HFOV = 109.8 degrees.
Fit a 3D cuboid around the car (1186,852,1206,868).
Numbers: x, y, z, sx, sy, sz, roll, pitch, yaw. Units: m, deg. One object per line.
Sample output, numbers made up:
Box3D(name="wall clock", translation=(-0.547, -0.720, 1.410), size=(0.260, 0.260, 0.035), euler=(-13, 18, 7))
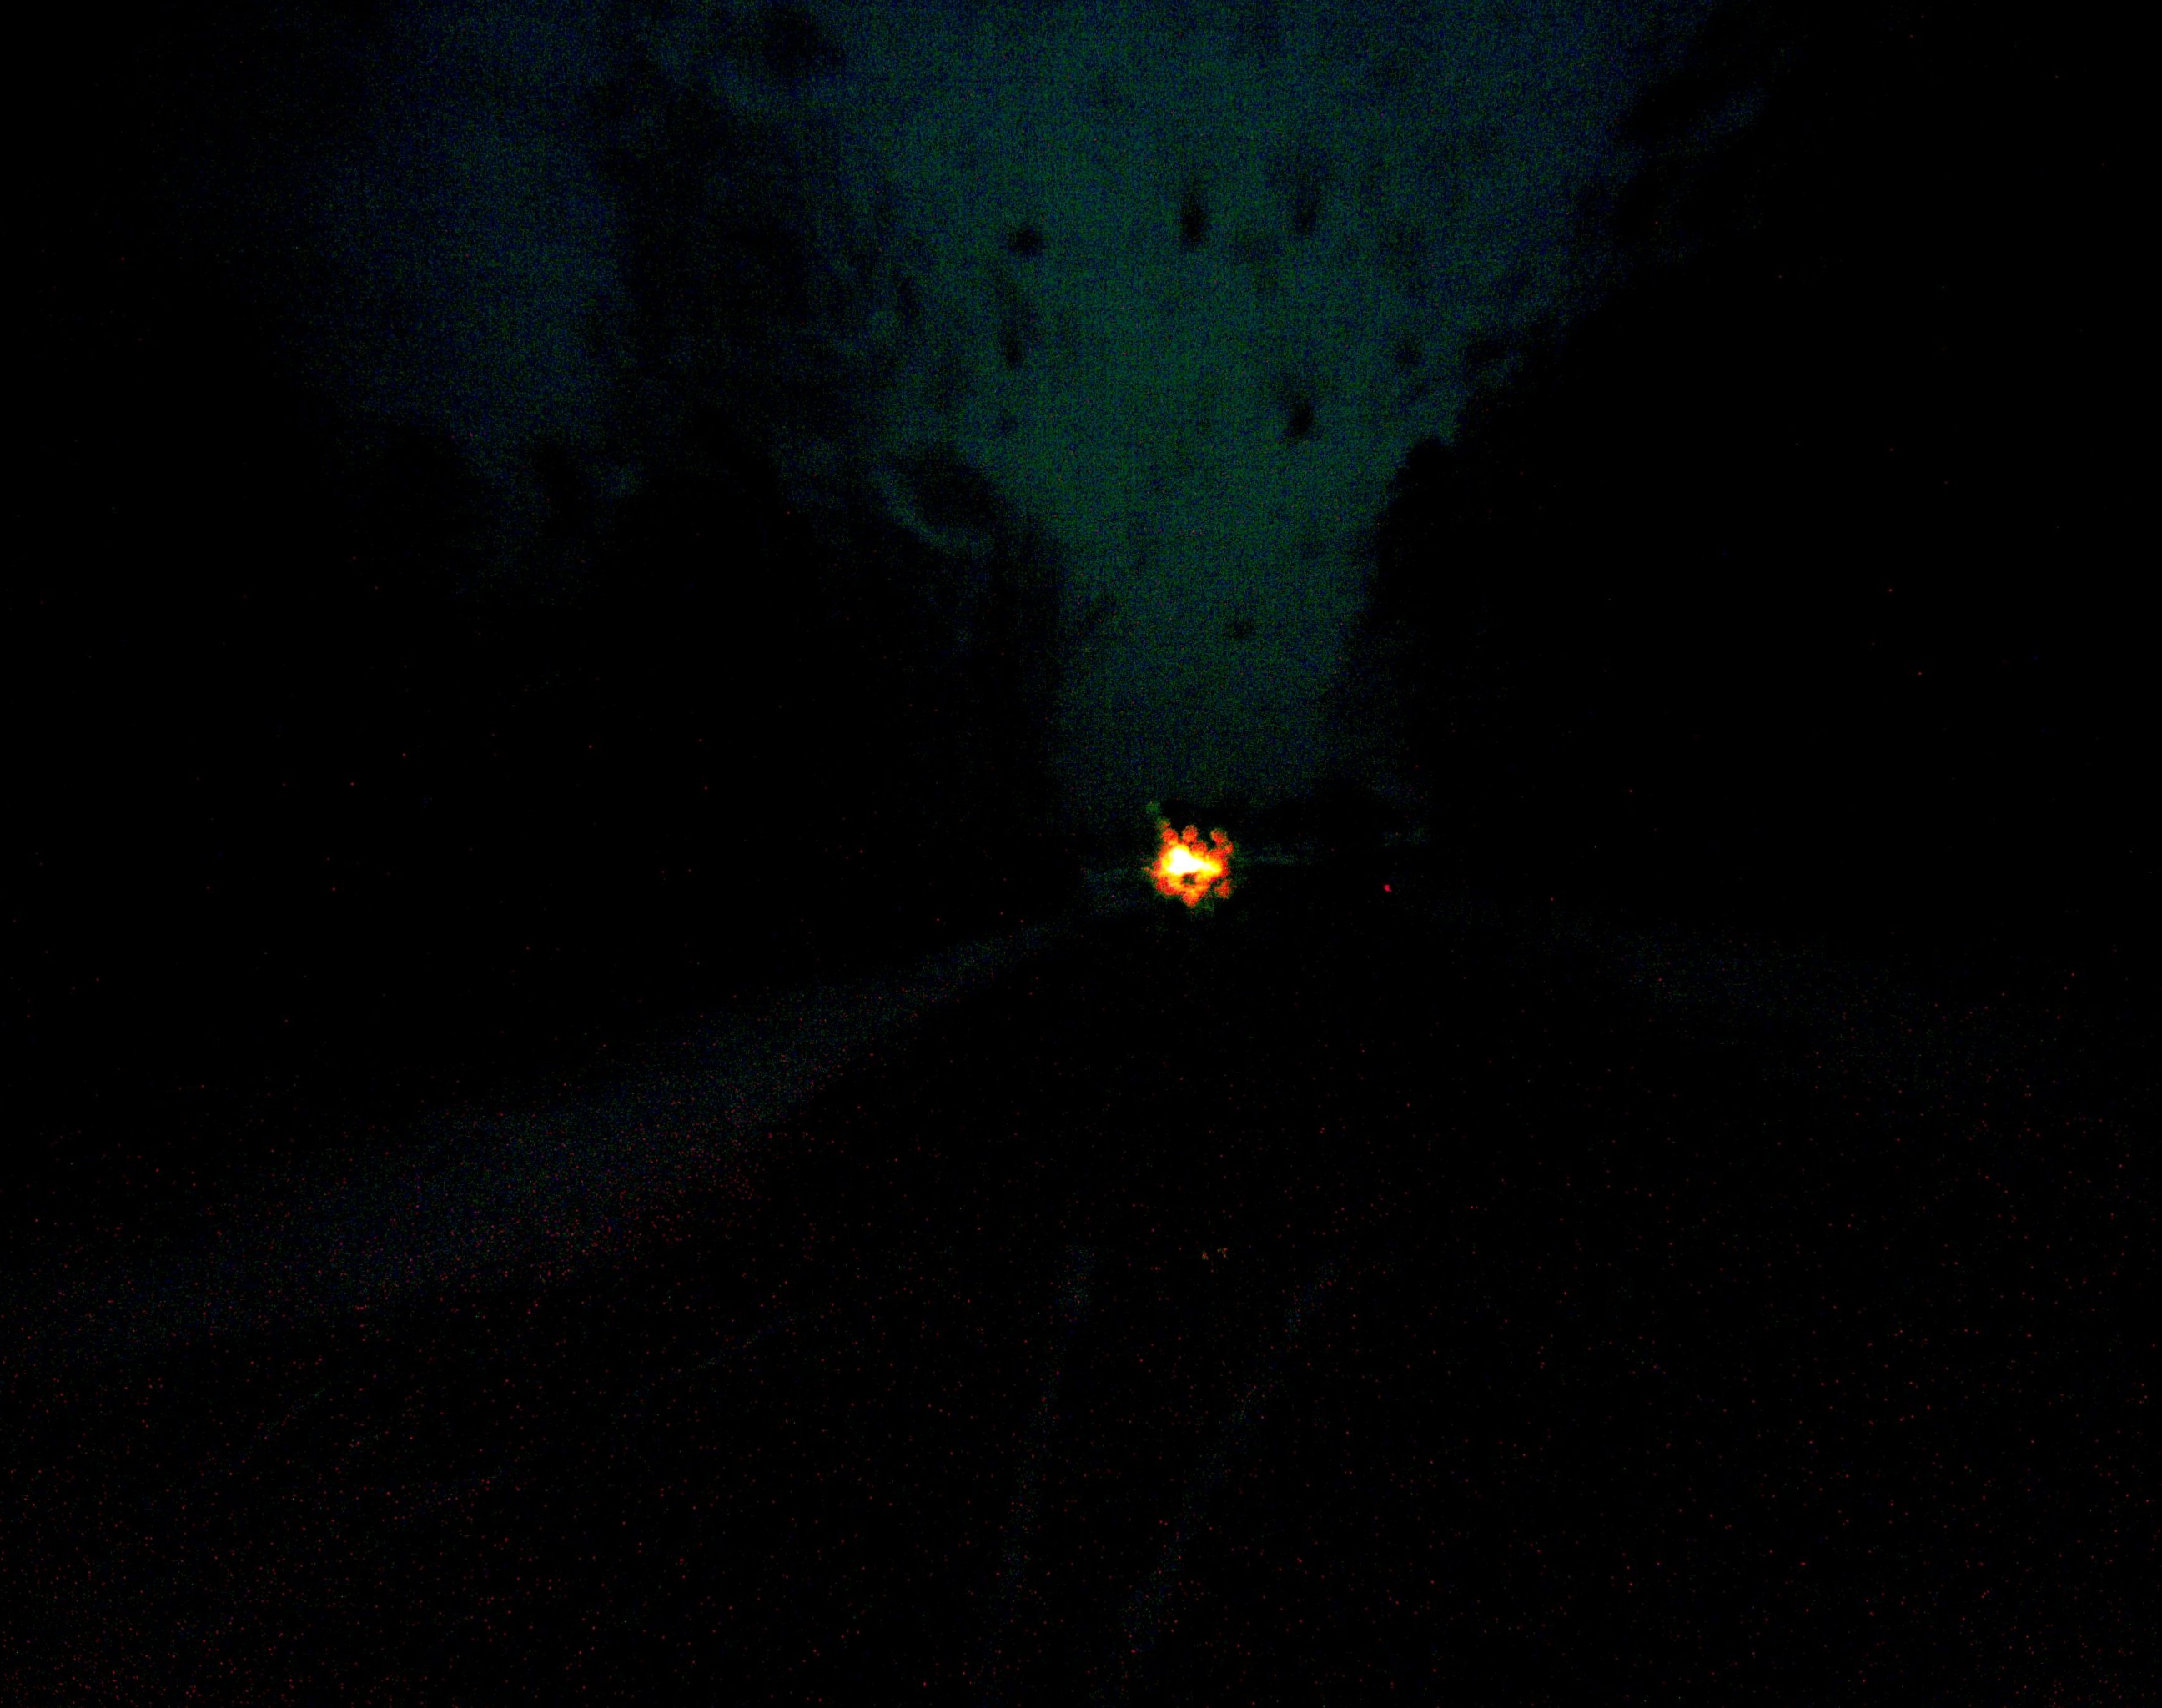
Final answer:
Box3D(name="car", translation=(17.015, 0.890, 112.780), size=(1.999, 2.002, 3.998), euler=(-7, 1, -2))
